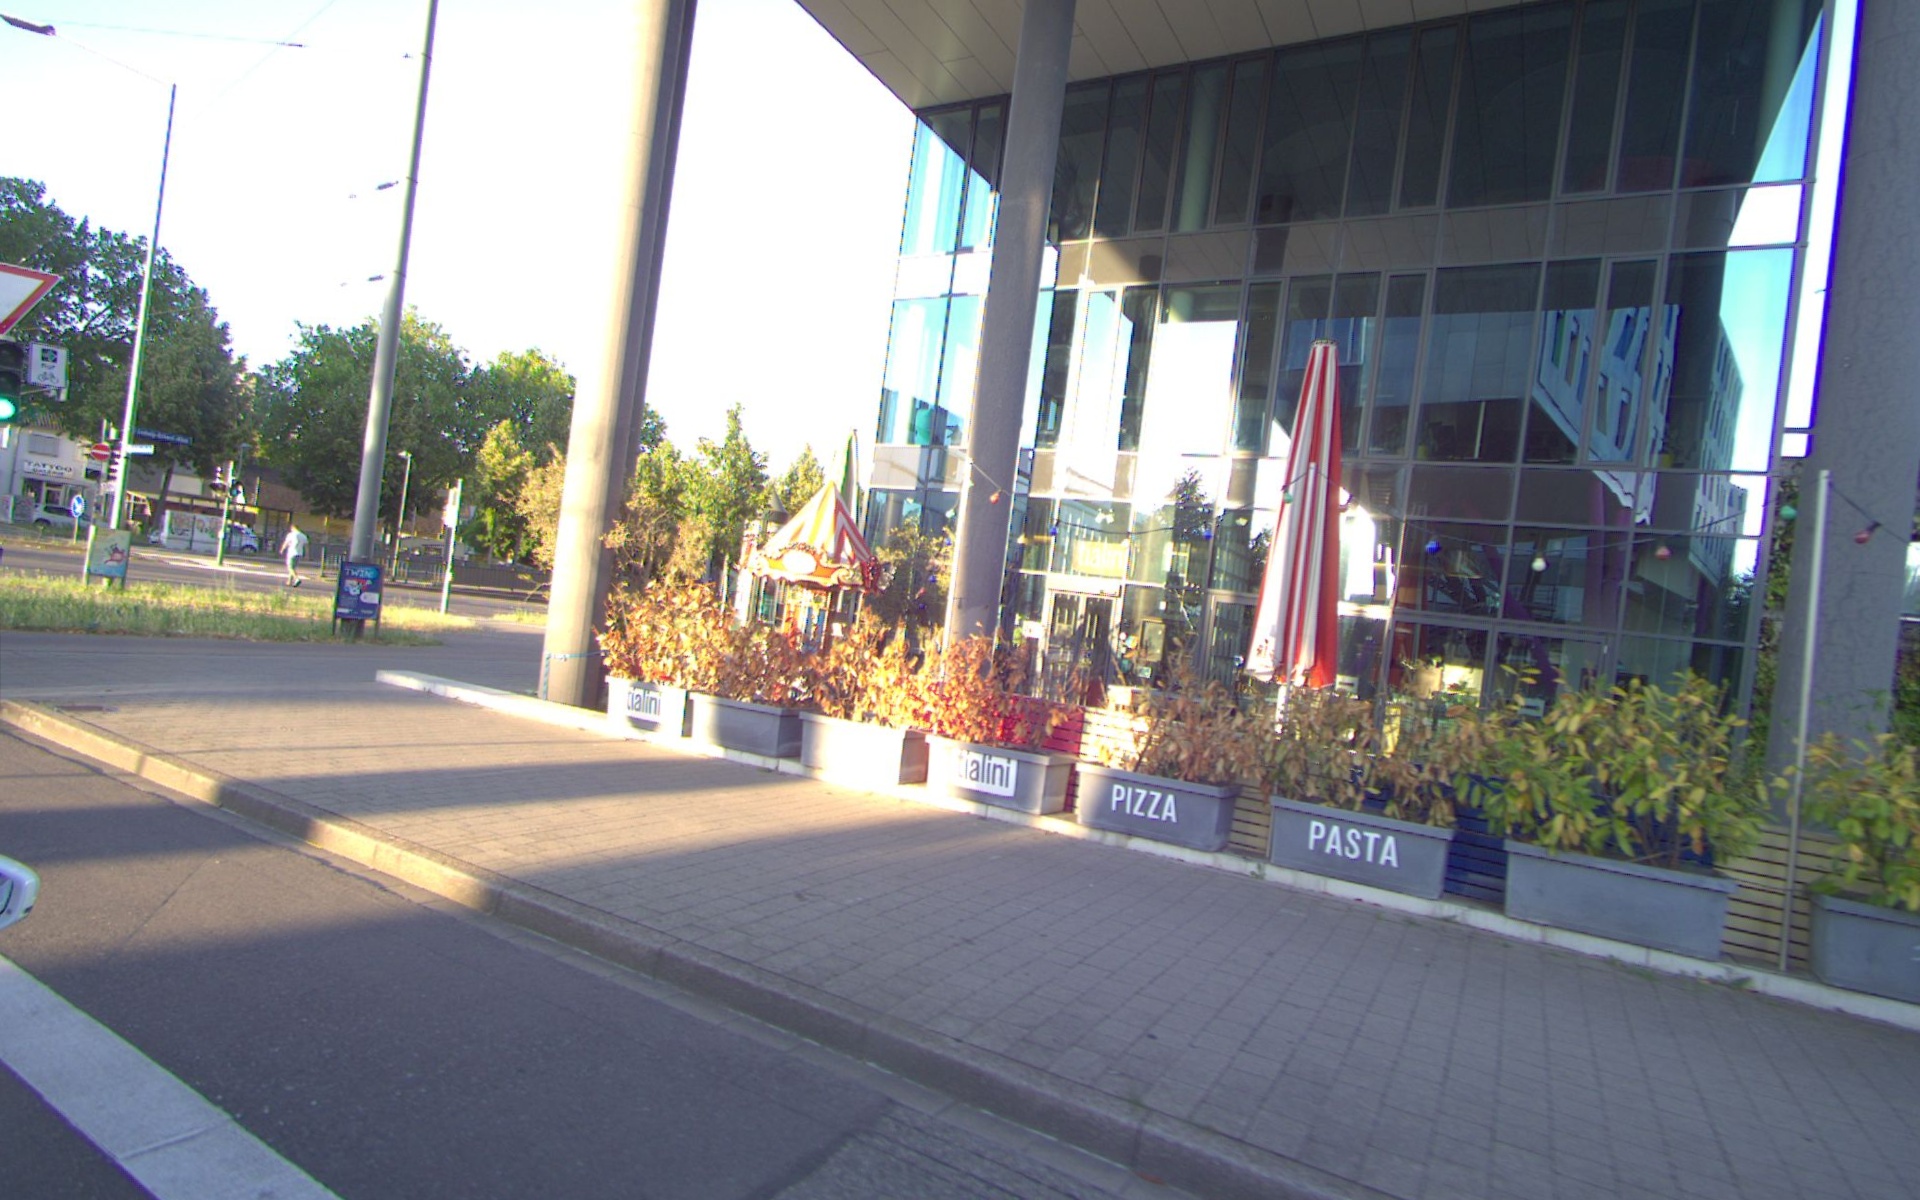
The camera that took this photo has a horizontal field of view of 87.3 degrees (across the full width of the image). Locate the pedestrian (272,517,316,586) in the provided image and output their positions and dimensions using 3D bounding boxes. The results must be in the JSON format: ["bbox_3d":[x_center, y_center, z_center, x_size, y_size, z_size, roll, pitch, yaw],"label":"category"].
[{"bbox_3d":[-18.605,-1.342,28.120,0.755,1.812,0.797,8,-1,-28],"label":"pedestrian"}]

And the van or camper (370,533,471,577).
[{"bbox_3d":[-42.680,-3.525,79.808,2.229,2.438,6.568,6,-2,36],"label":"van or camper"}]

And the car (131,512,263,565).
[{"bbox_3d":[-36.113,-2.879,47.754,1.829,1.748,4.546,7,-2,28],"label":"car"}]

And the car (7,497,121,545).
[{"bbox_3d":[-49.298,-4.330,55.443,1.968,1.868,4.235,7,-2,34],"label":"car"}]
